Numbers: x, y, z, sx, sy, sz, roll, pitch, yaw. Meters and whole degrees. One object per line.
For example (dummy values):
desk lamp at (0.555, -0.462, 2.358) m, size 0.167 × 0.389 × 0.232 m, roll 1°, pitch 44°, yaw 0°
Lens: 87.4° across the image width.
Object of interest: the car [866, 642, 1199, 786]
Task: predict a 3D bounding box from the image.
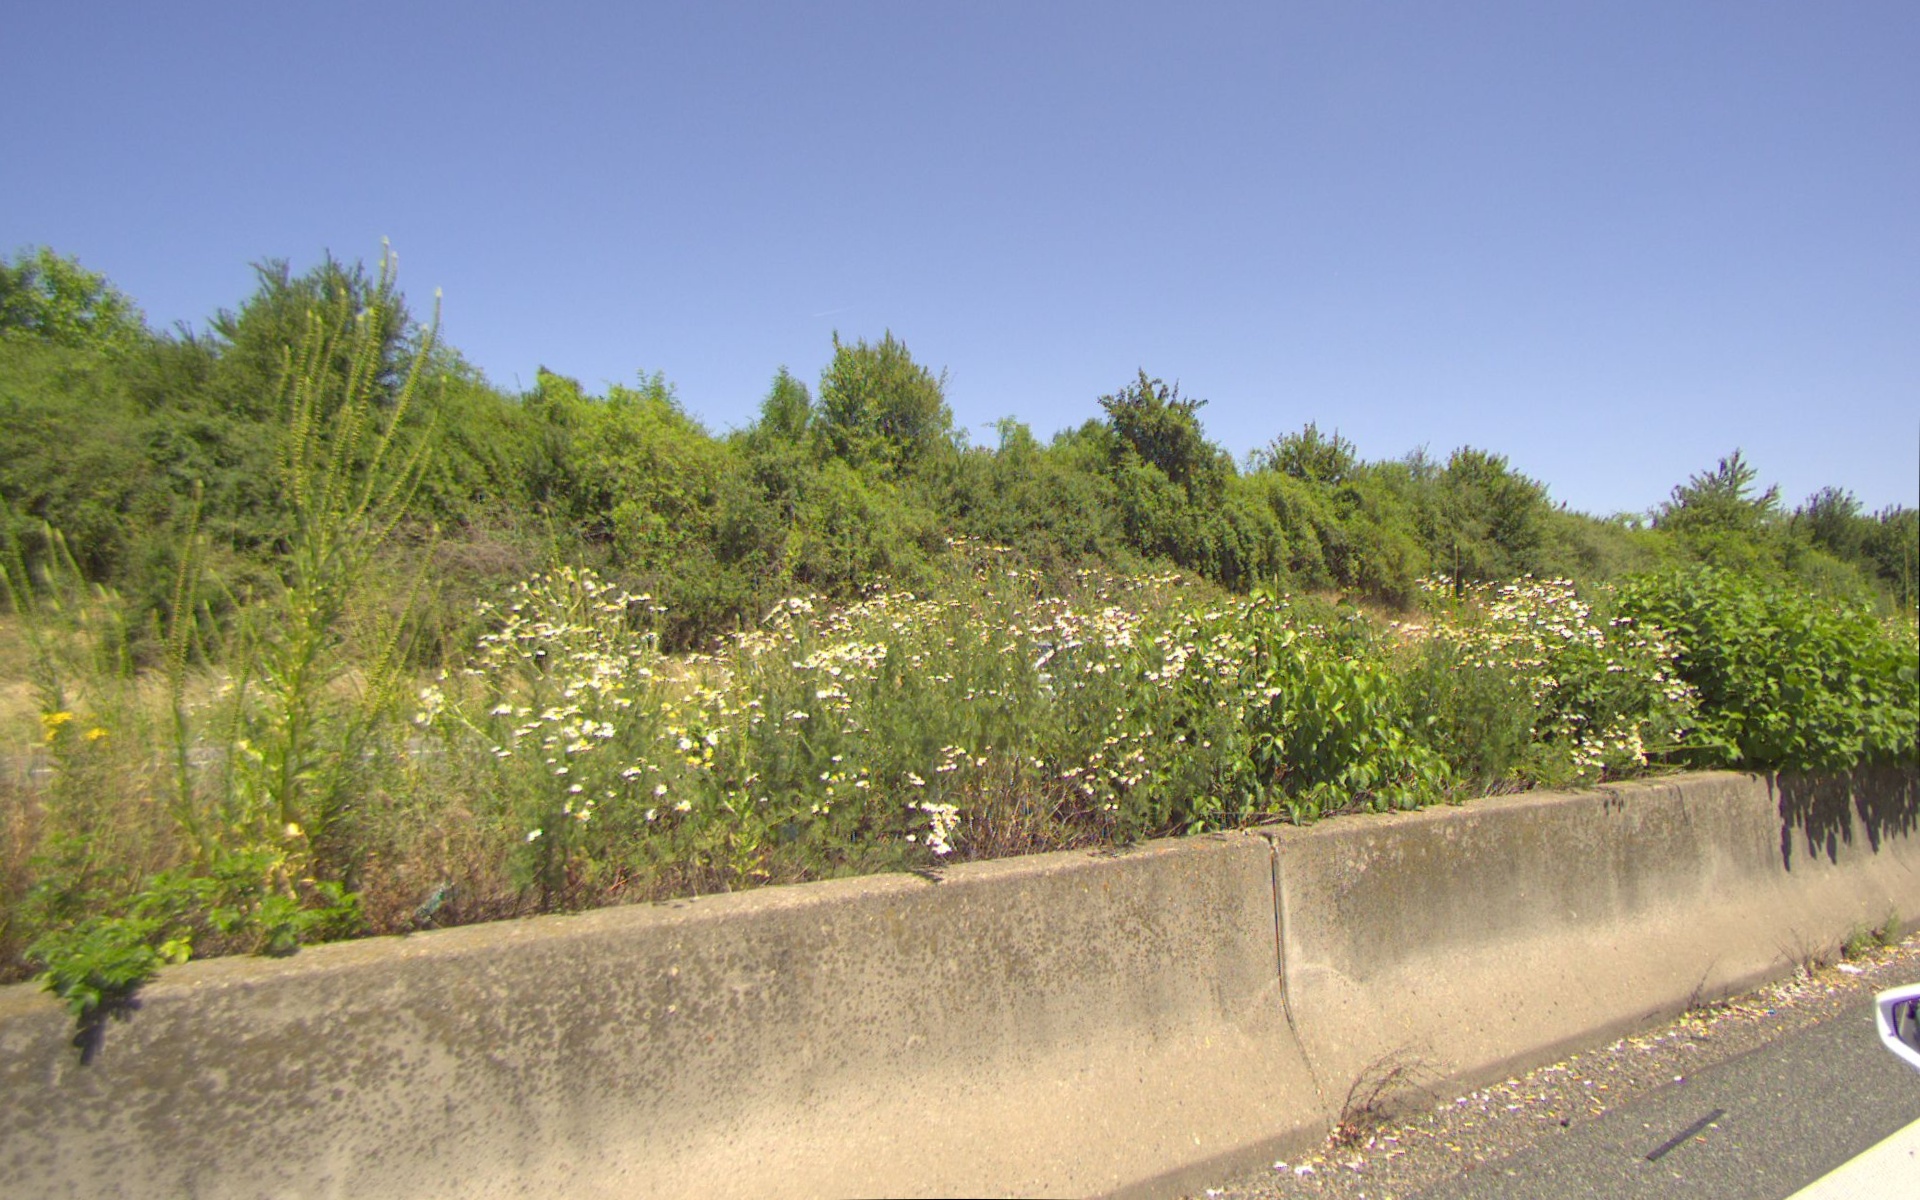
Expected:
car at (0.963, 1.319, 12.705) m, size 3.953 × 1.553 × 1.695 m, roll 1°, pitch -2°, yaw -30°
